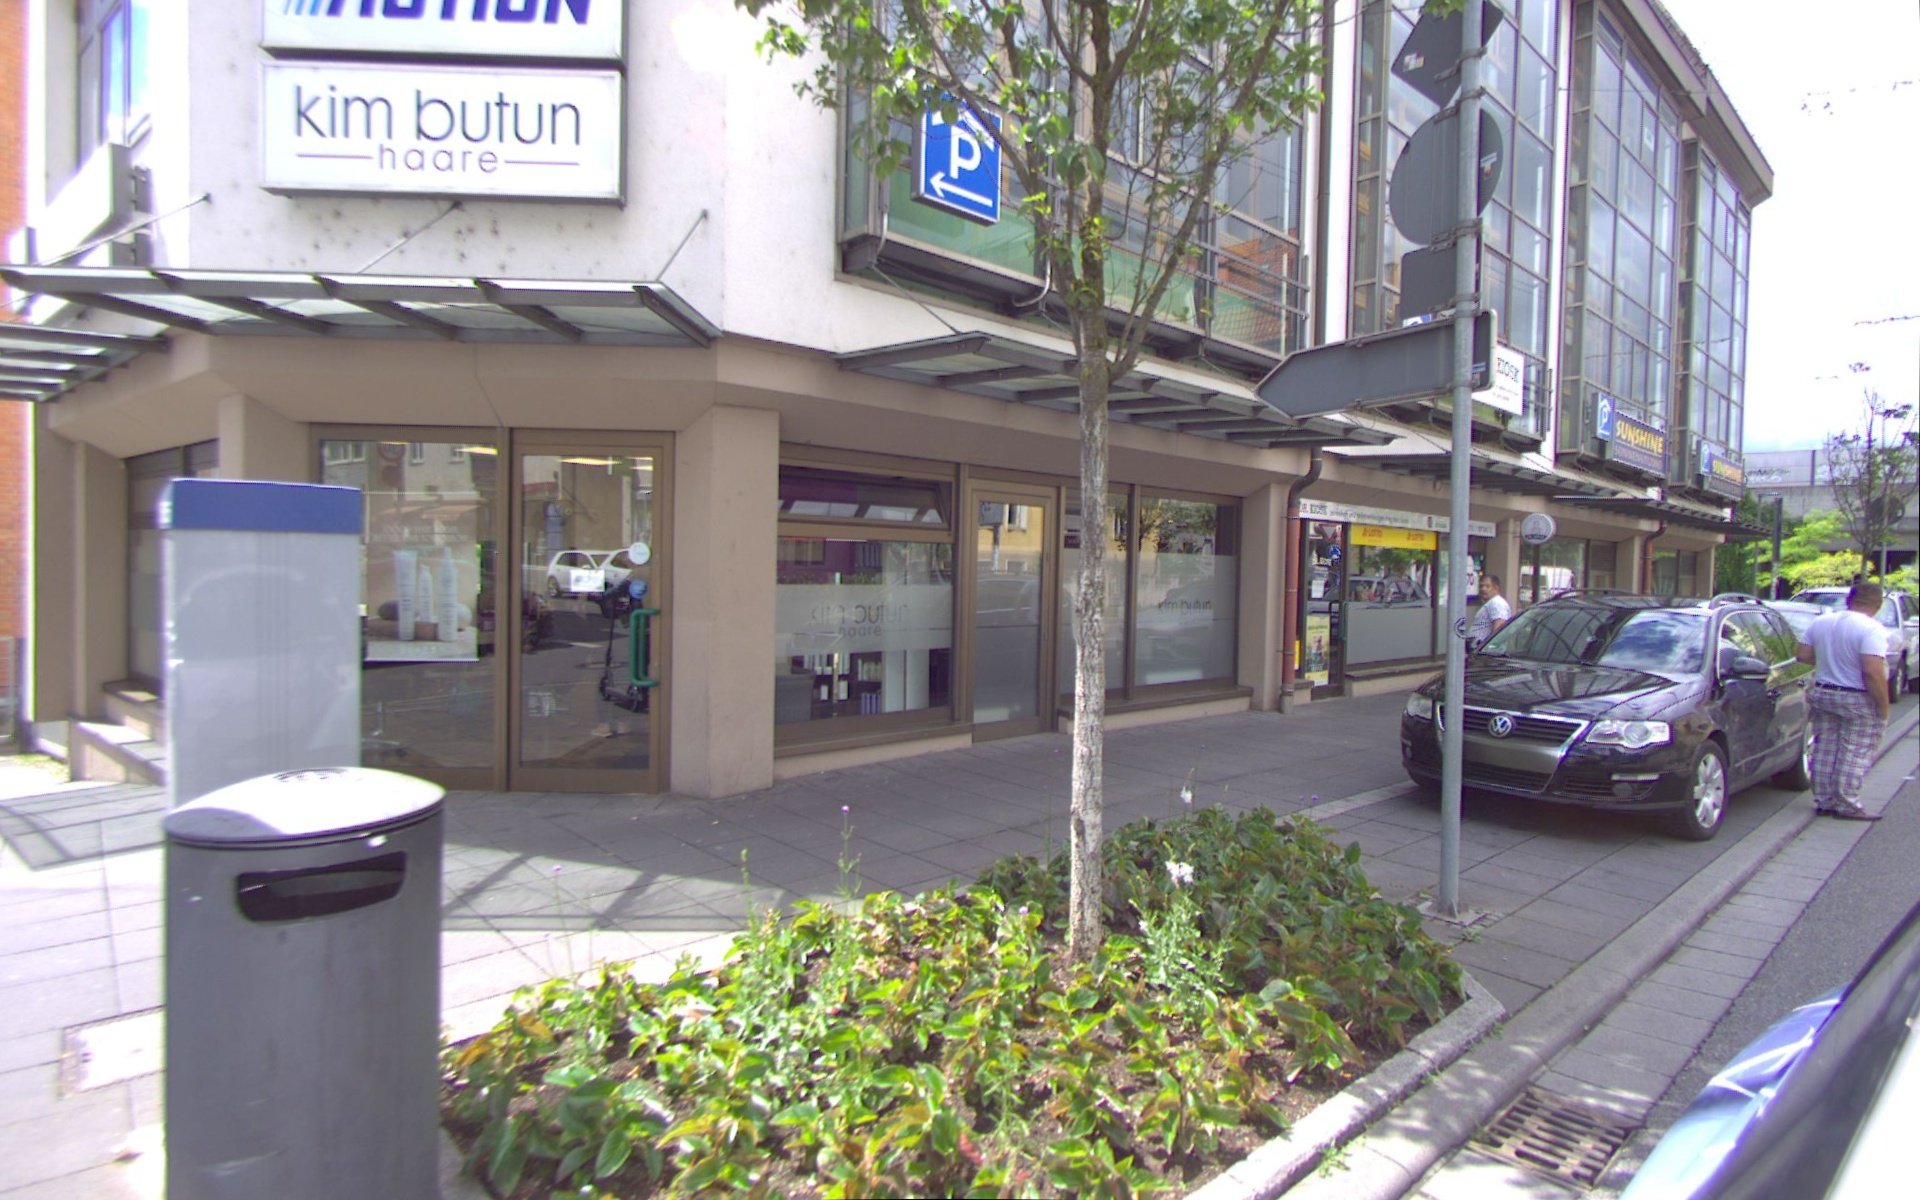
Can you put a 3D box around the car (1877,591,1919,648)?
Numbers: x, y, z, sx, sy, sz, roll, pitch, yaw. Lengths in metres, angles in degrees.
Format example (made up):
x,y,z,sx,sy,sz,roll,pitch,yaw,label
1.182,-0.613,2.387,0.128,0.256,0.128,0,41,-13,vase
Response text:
x,y,z,sx,sy,sz,roll,pitch,yaw,label
27.416,0.536,28.889,1.720,1.545,3.541,2,2,44,car

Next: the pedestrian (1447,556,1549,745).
x,y,z,sx,sy,sz,roll,pitch,yaw,label
4.711,0.422,8.872,0.469,1.582,0.660,0,0,-40,pedestrian

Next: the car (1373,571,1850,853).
x,y,z,sx,sy,sz,roll,pitch,yaw,label
4.958,0.564,7.411,4.472,1.472,1.718,0,1,-41,car

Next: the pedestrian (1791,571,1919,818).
x,y,z,sx,sy,sz,roll,pitch,yaw,label
6.258,0.612,6.999,0.537,1.620,0.586,0,0,-20,pedestrian

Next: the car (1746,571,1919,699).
x,y,z,sx,sy,sz,roll,pitch,yaw,label
14.219,0.461,15.952,4.385,1.681,1.826,0,3,-38,car

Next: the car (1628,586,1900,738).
x,y,z,sx,sy,sz,roll,pitch,yaw,label
9.721,0.593,12.100,4.458,1.463,1.855,0,1,-42,car
